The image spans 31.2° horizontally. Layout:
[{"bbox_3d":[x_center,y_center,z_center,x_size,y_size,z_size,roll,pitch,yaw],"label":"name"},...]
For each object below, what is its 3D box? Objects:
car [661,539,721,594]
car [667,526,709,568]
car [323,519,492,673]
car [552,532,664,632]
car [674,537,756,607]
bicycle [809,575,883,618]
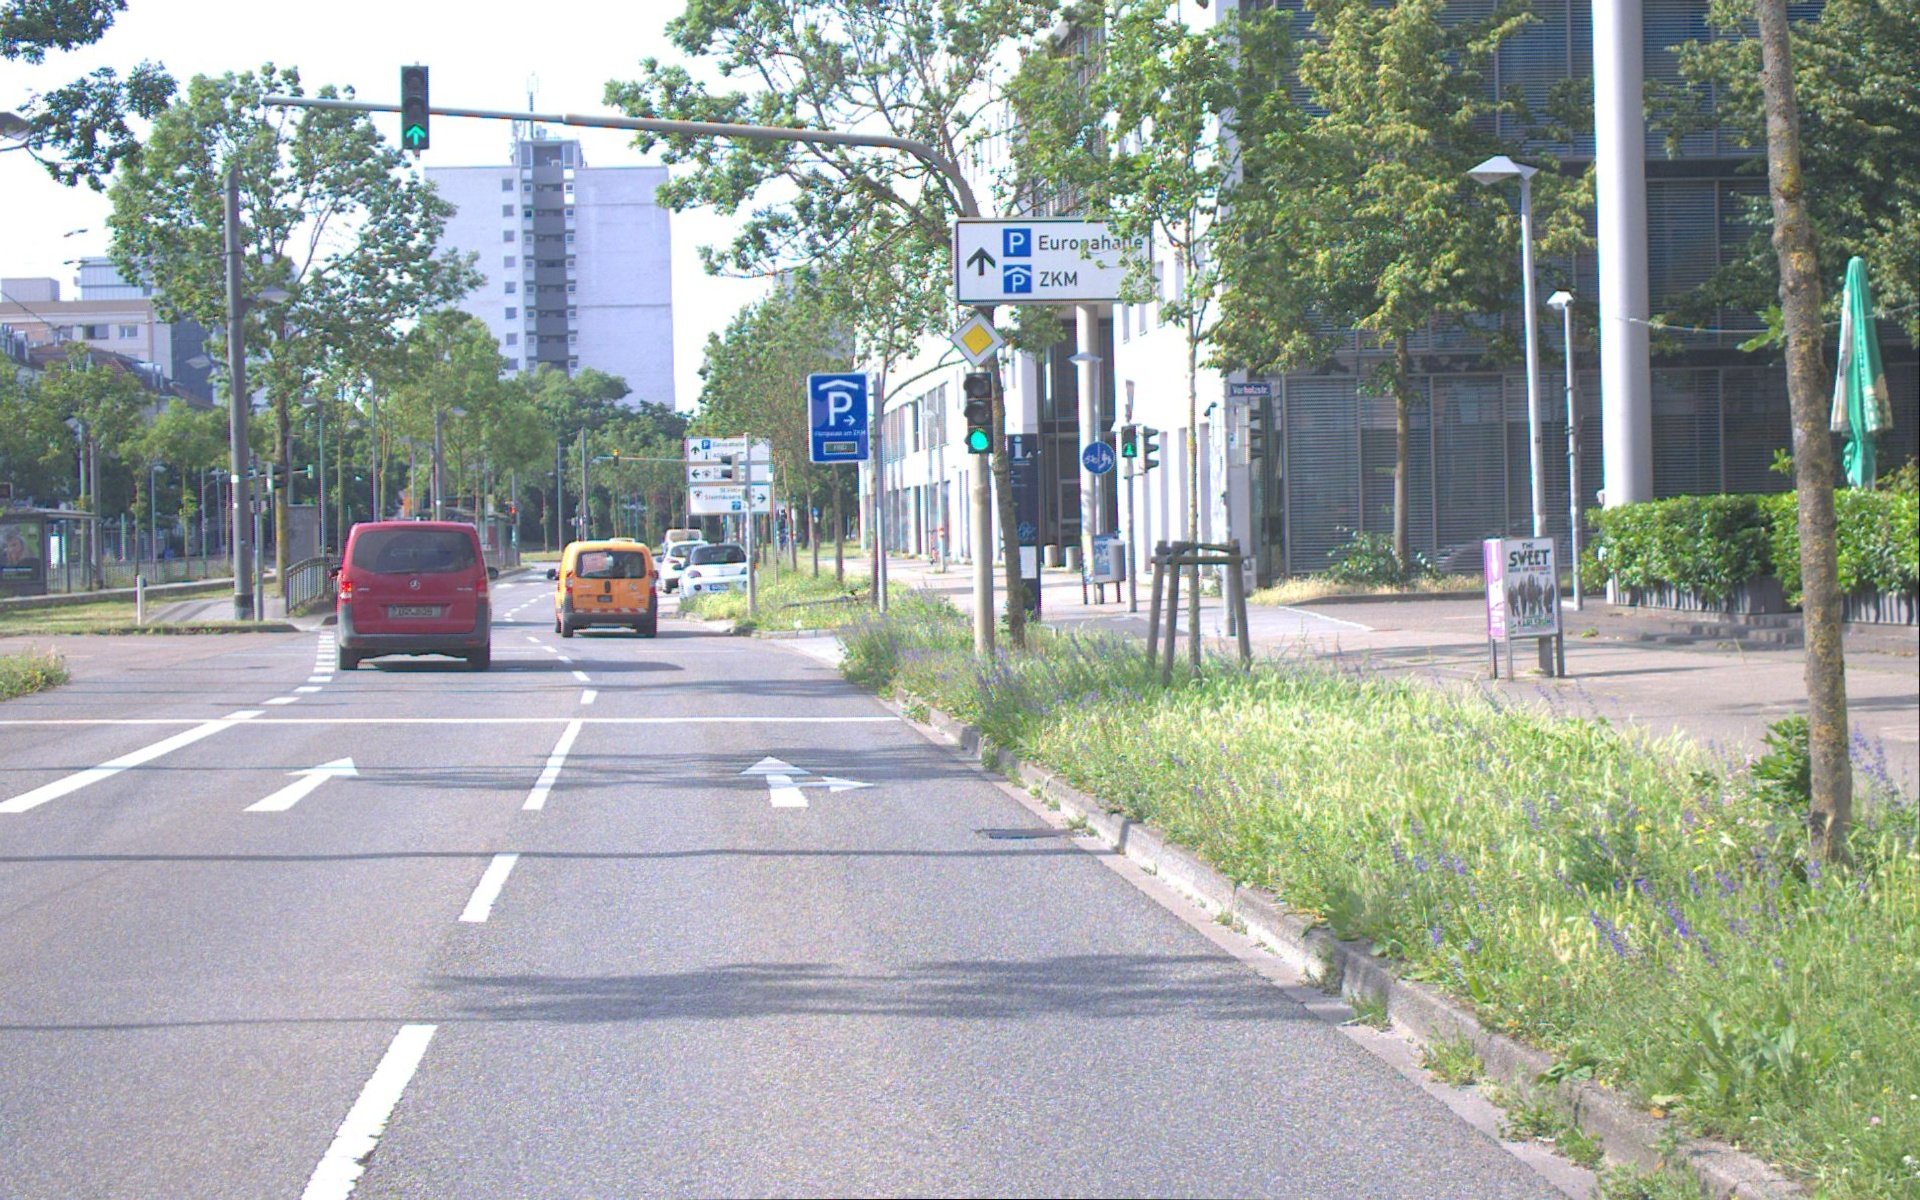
[{"bbox_3d":[-8.120,-1.022,103.861,1.688,1.521,3.851,-3,1,-5],"label":"car"},{"bbox_3d":[-13.264,-2.570,167.434,1.993,2.007,4.001,-1,1,-5],"label":"car"},{"bbox_3d":[-6.998,-0.090,43.862,1.874,1.847,4.001,-1,1,-6],"label":"car"},{"bbox_3d":[-6.287,-0.352,61.752,1.875,1.690,3.974,-1,1,-4],"label":"car"},{"bbox_3d":[-5.560,-0.643,77.819,1.720,1.514,3.782,-1,1,-6],"label":"car"},{"bbox_3d":[-2.109,-0.066,63.820,1.271,0.630,0.521,-7,1,3],"label":"bicycle"}]
